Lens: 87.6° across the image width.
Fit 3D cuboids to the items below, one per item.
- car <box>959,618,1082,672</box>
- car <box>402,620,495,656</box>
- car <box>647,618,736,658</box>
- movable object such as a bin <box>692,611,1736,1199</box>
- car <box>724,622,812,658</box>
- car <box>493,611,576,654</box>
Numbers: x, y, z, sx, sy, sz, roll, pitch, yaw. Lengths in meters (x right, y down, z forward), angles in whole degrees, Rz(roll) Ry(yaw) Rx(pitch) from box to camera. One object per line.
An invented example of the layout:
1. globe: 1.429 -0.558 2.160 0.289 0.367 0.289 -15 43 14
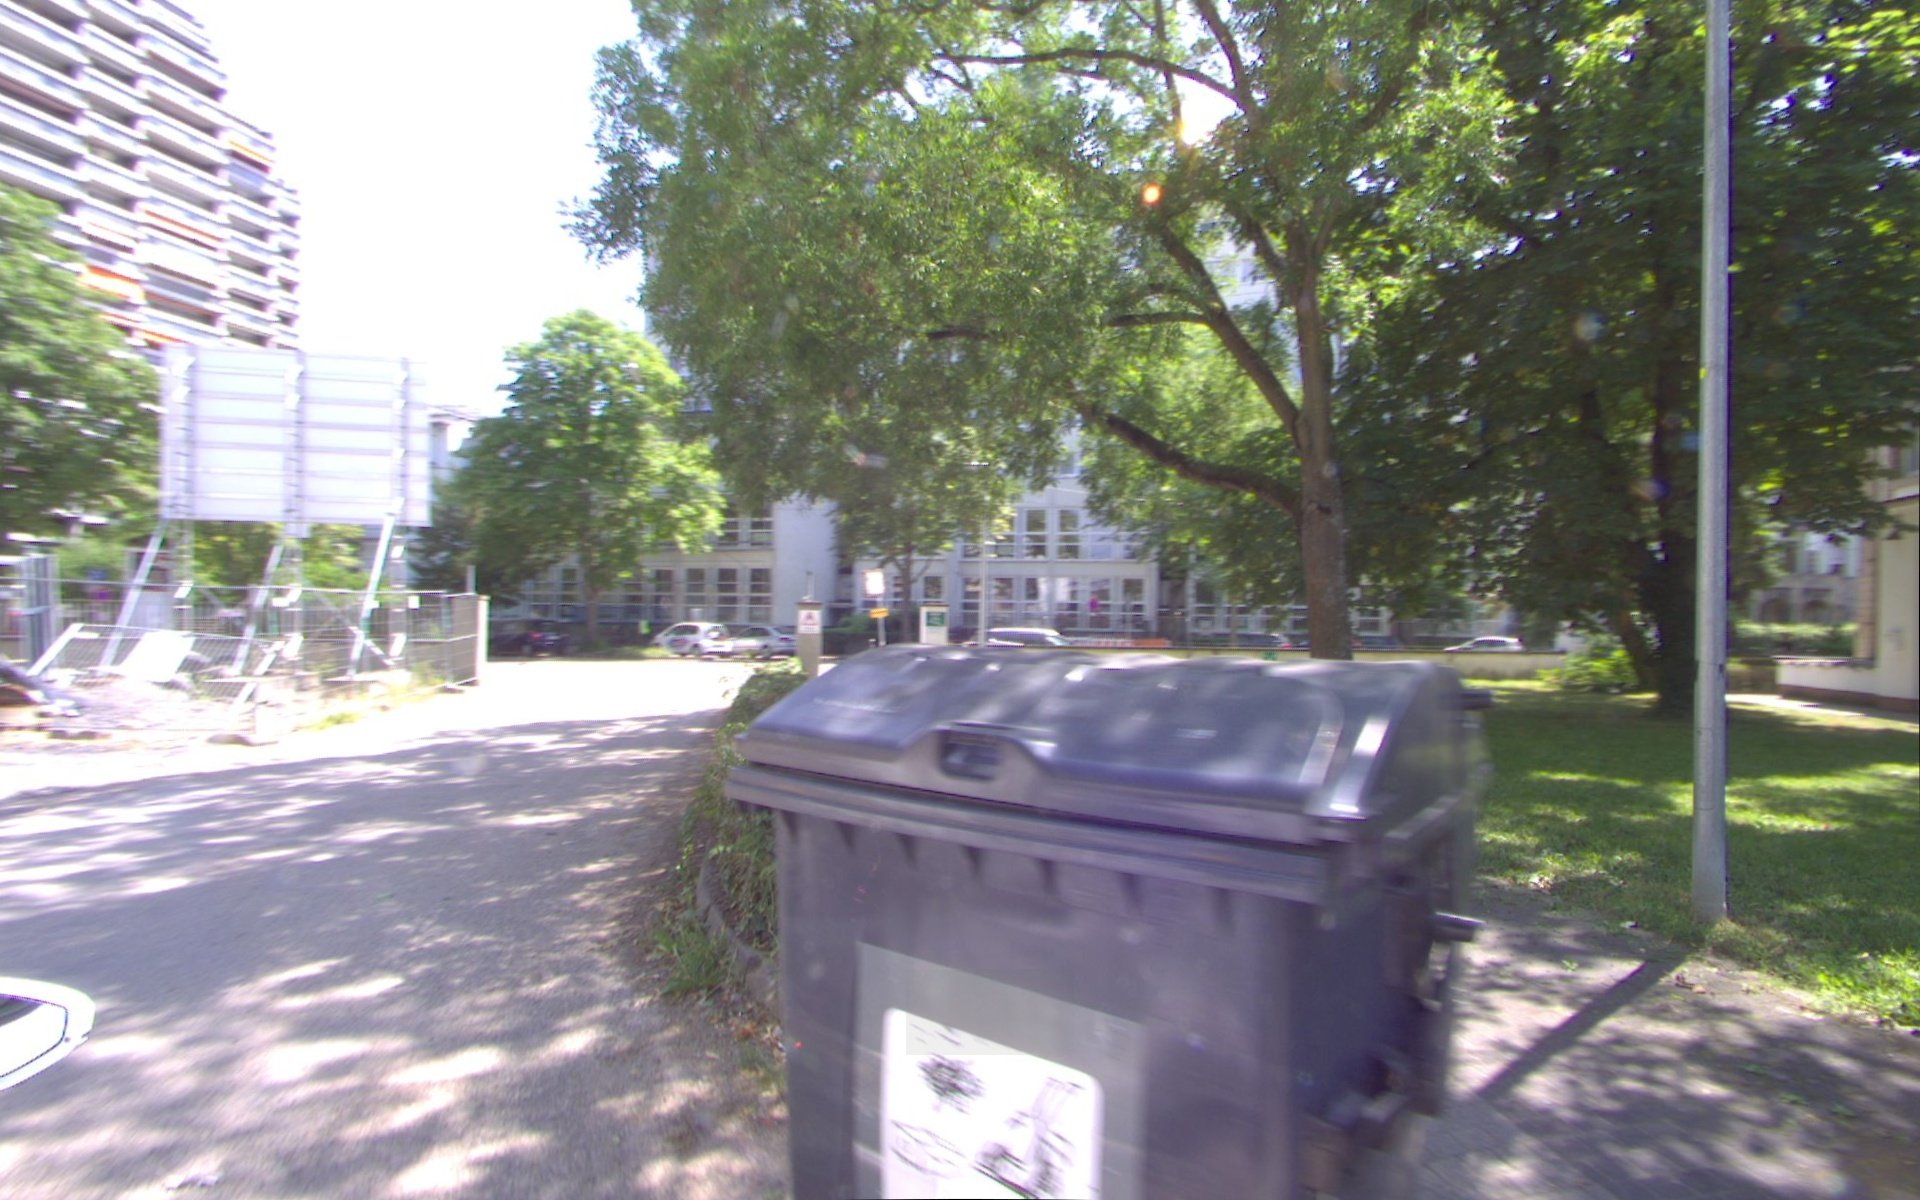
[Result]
1. car: 1.713 1.276 28.655 3.270 1.498 1.432 1 -1 -12
2. car: -20.473 1.482 40.064 3.882 1.327 1.907 0 -1 39
3. car: -11.407 1.570 42.462 3.639 1.610 1.661 0 -1 33
4. movable object such as a bin: 0.391 0.768 1.853 1.352 1.477 1.077 0 -1 18
5. car: -8.234 1.692 42.824 3.662 1.433 1.659 0 -1 36
6. car: -17.493 1.300 41.087 1.997 1.650 3.894 1 -1 -42
